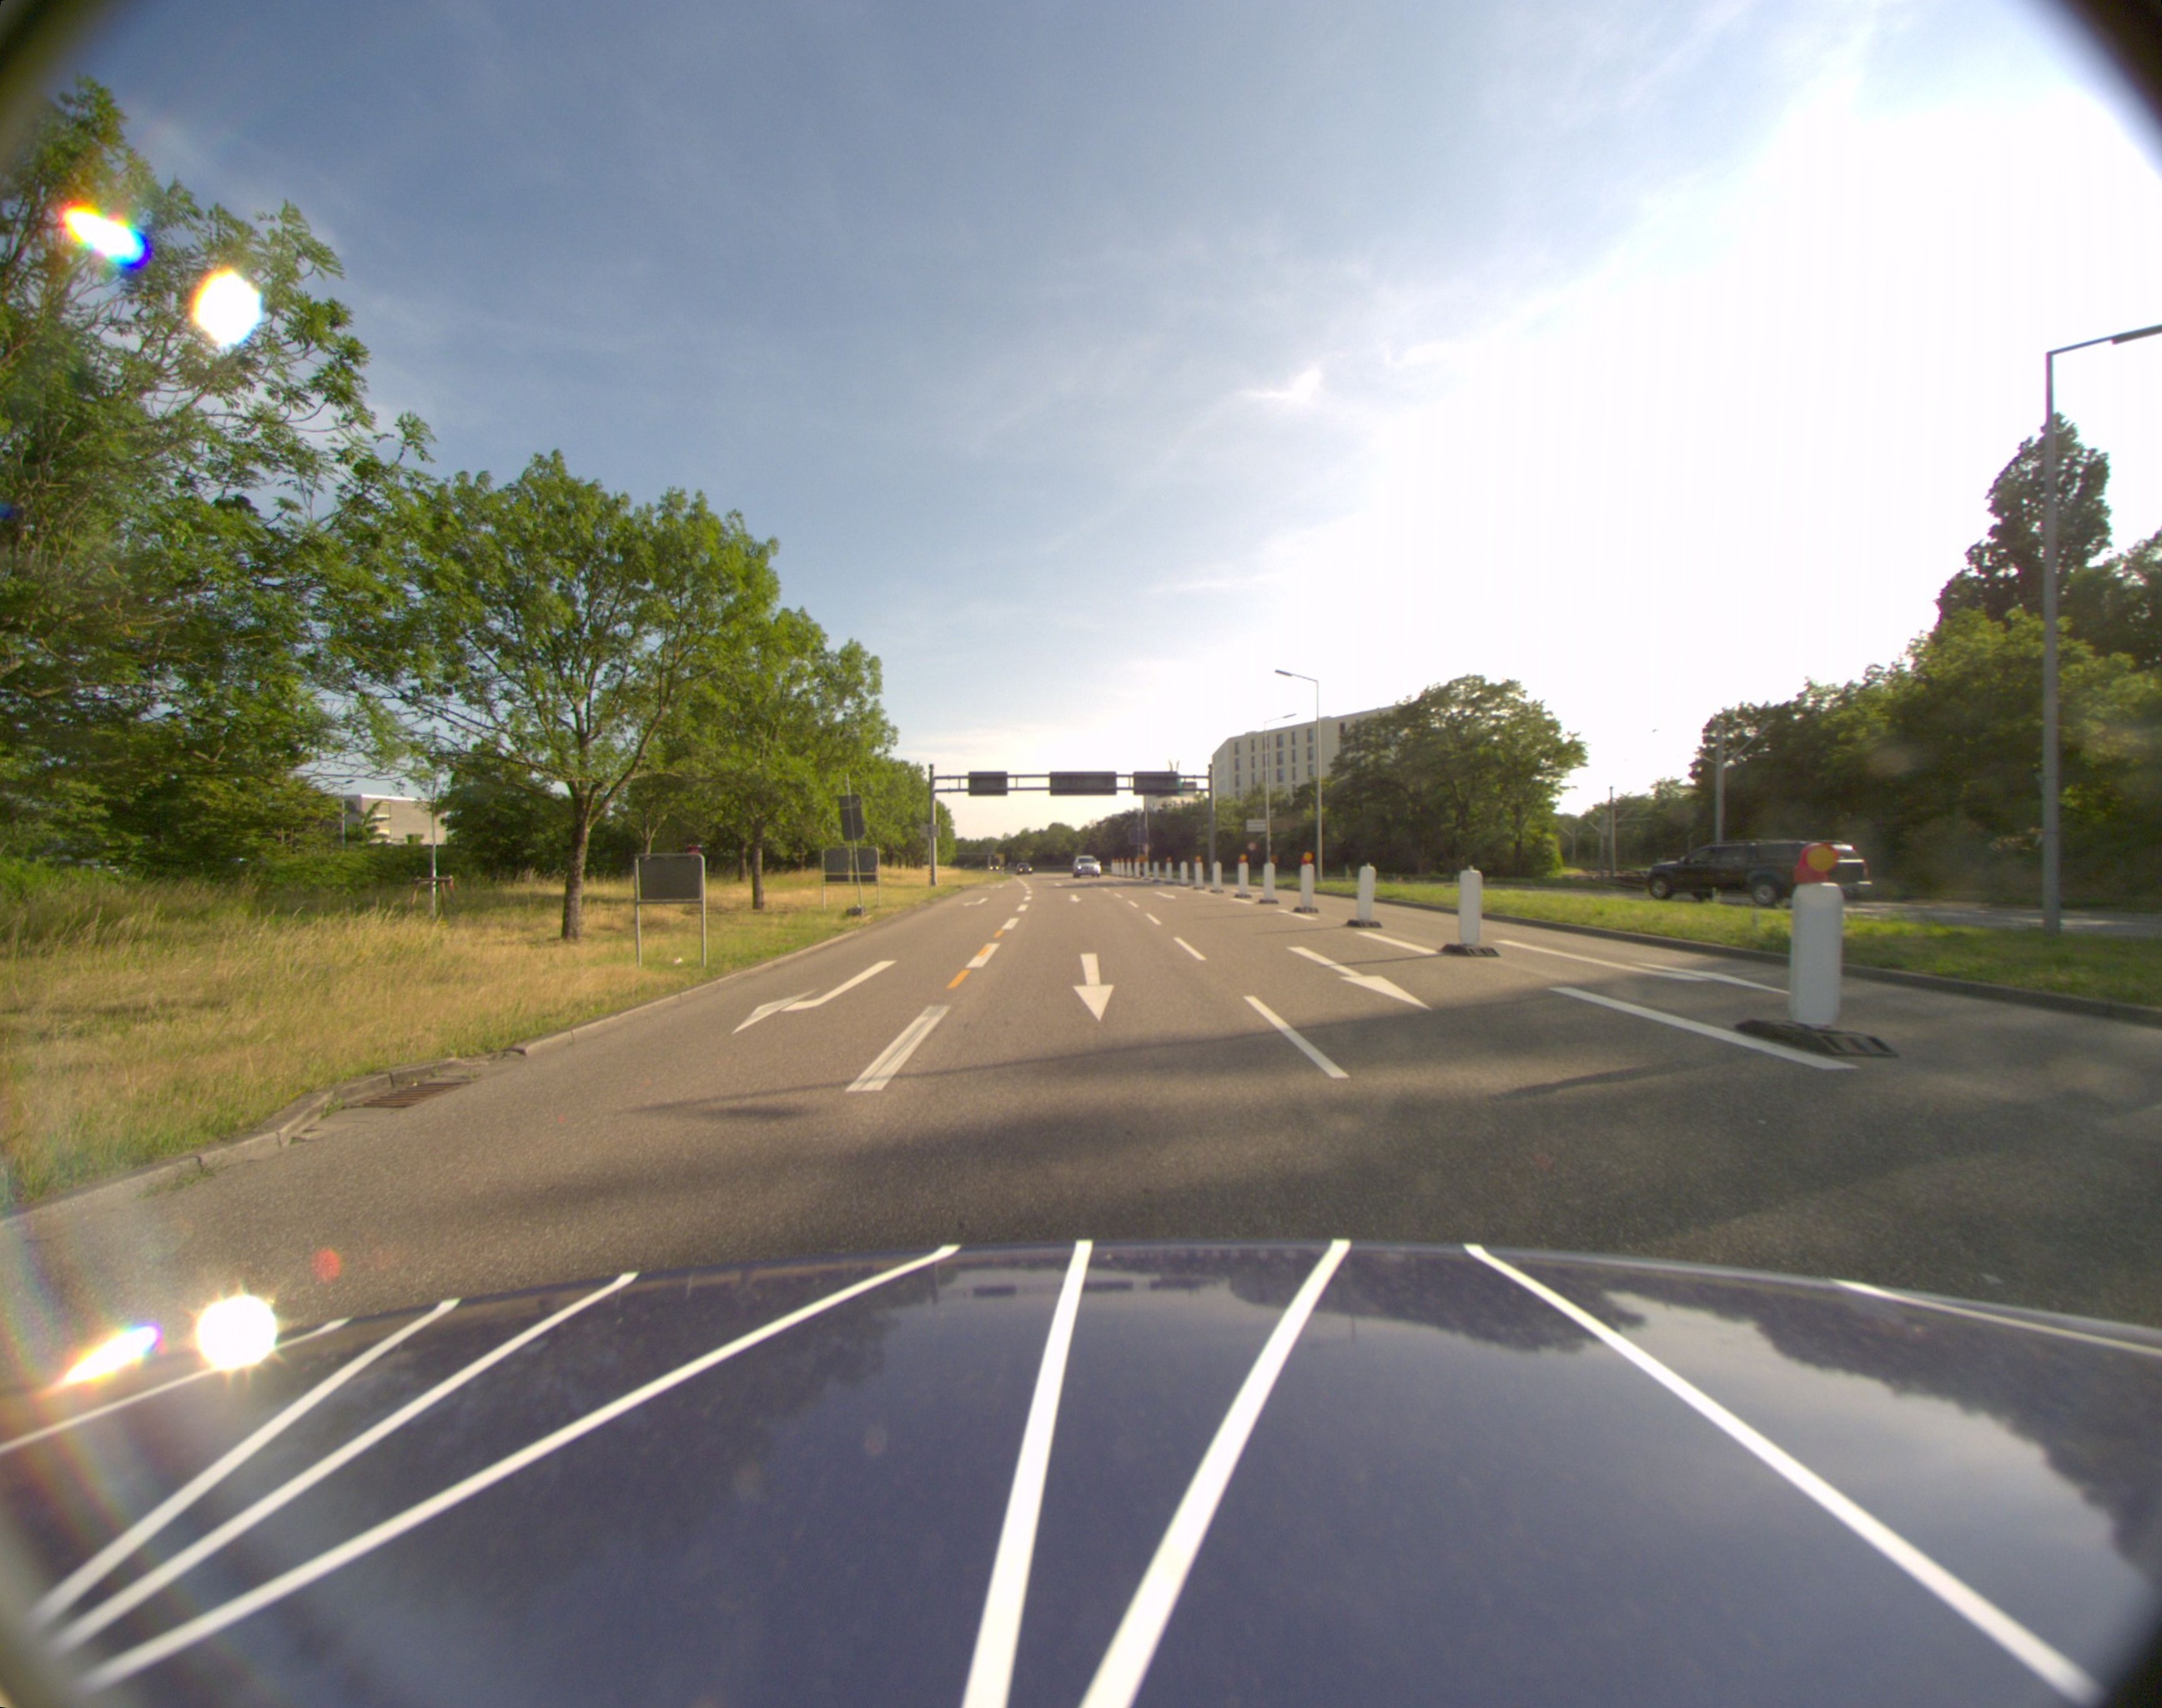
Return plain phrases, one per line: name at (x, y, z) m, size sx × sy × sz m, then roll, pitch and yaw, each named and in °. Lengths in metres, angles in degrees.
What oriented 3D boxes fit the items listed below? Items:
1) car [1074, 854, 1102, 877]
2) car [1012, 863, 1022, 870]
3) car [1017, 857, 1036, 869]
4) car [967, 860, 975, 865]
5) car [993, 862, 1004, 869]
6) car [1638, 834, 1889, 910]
car at (0.554, 0.954, 63.862) m, size 1.902 × 1.813 × 4.354 m, roll -2°, pitch 0°, yaw -5°
car at (-16.132, 3.116, 191.212) m, size 1.791 × 1.796 × 4.119 m, roll -1°, pitch 0°, yaw -12°
car at (-6.759, 1.130, 94.022) m, size 1.902 × 1.377 × 4.352 m, roll -2°, pitch 0°, yaw -9°
car at (-37.295, 2.780, 257.808) m, size 1.738 × 1.602 × 3.518 m, roll -2°, pitch 0°, yaw -22°
car at (-18.124, 2.469, 166.781) m, size 1.897 × 1.447 × 3.904 m, roll -1°, pitch 0°, yaw -15°
car at (20.074, 0.481, 22.759) m, size 2.001 × 2.002 × 5.350 m, roll 0°, pitch 0°, yaw -16°
